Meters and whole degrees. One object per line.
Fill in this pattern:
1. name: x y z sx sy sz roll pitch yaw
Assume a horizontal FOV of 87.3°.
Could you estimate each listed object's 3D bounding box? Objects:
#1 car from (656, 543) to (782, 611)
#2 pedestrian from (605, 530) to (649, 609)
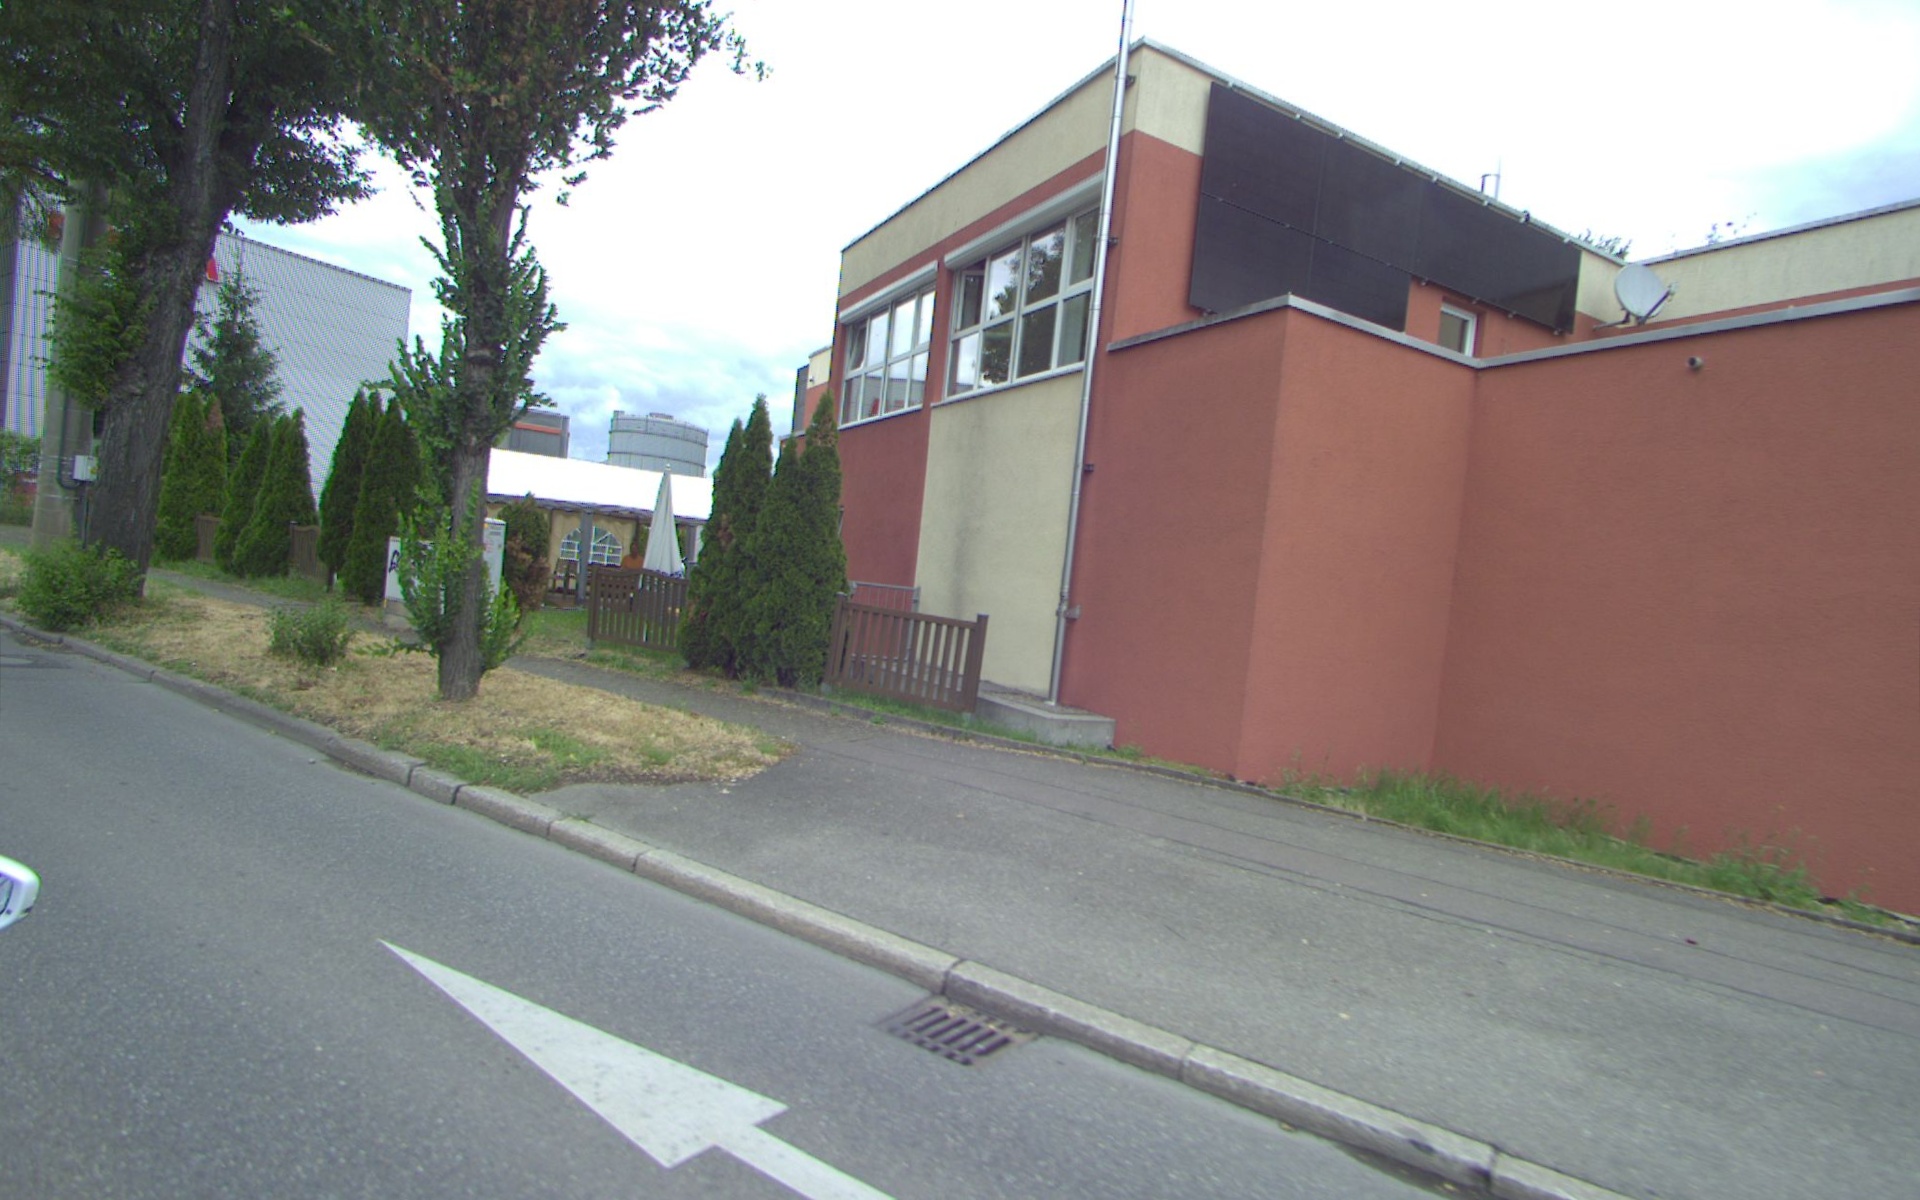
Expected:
1. car: -8.294 -0.802 34.581 3.938 1.861 1.993 7 1 36
2. pedestrian: -6.837 -0.629 20.631 0.695 1.509 0.766 6 1 -20
